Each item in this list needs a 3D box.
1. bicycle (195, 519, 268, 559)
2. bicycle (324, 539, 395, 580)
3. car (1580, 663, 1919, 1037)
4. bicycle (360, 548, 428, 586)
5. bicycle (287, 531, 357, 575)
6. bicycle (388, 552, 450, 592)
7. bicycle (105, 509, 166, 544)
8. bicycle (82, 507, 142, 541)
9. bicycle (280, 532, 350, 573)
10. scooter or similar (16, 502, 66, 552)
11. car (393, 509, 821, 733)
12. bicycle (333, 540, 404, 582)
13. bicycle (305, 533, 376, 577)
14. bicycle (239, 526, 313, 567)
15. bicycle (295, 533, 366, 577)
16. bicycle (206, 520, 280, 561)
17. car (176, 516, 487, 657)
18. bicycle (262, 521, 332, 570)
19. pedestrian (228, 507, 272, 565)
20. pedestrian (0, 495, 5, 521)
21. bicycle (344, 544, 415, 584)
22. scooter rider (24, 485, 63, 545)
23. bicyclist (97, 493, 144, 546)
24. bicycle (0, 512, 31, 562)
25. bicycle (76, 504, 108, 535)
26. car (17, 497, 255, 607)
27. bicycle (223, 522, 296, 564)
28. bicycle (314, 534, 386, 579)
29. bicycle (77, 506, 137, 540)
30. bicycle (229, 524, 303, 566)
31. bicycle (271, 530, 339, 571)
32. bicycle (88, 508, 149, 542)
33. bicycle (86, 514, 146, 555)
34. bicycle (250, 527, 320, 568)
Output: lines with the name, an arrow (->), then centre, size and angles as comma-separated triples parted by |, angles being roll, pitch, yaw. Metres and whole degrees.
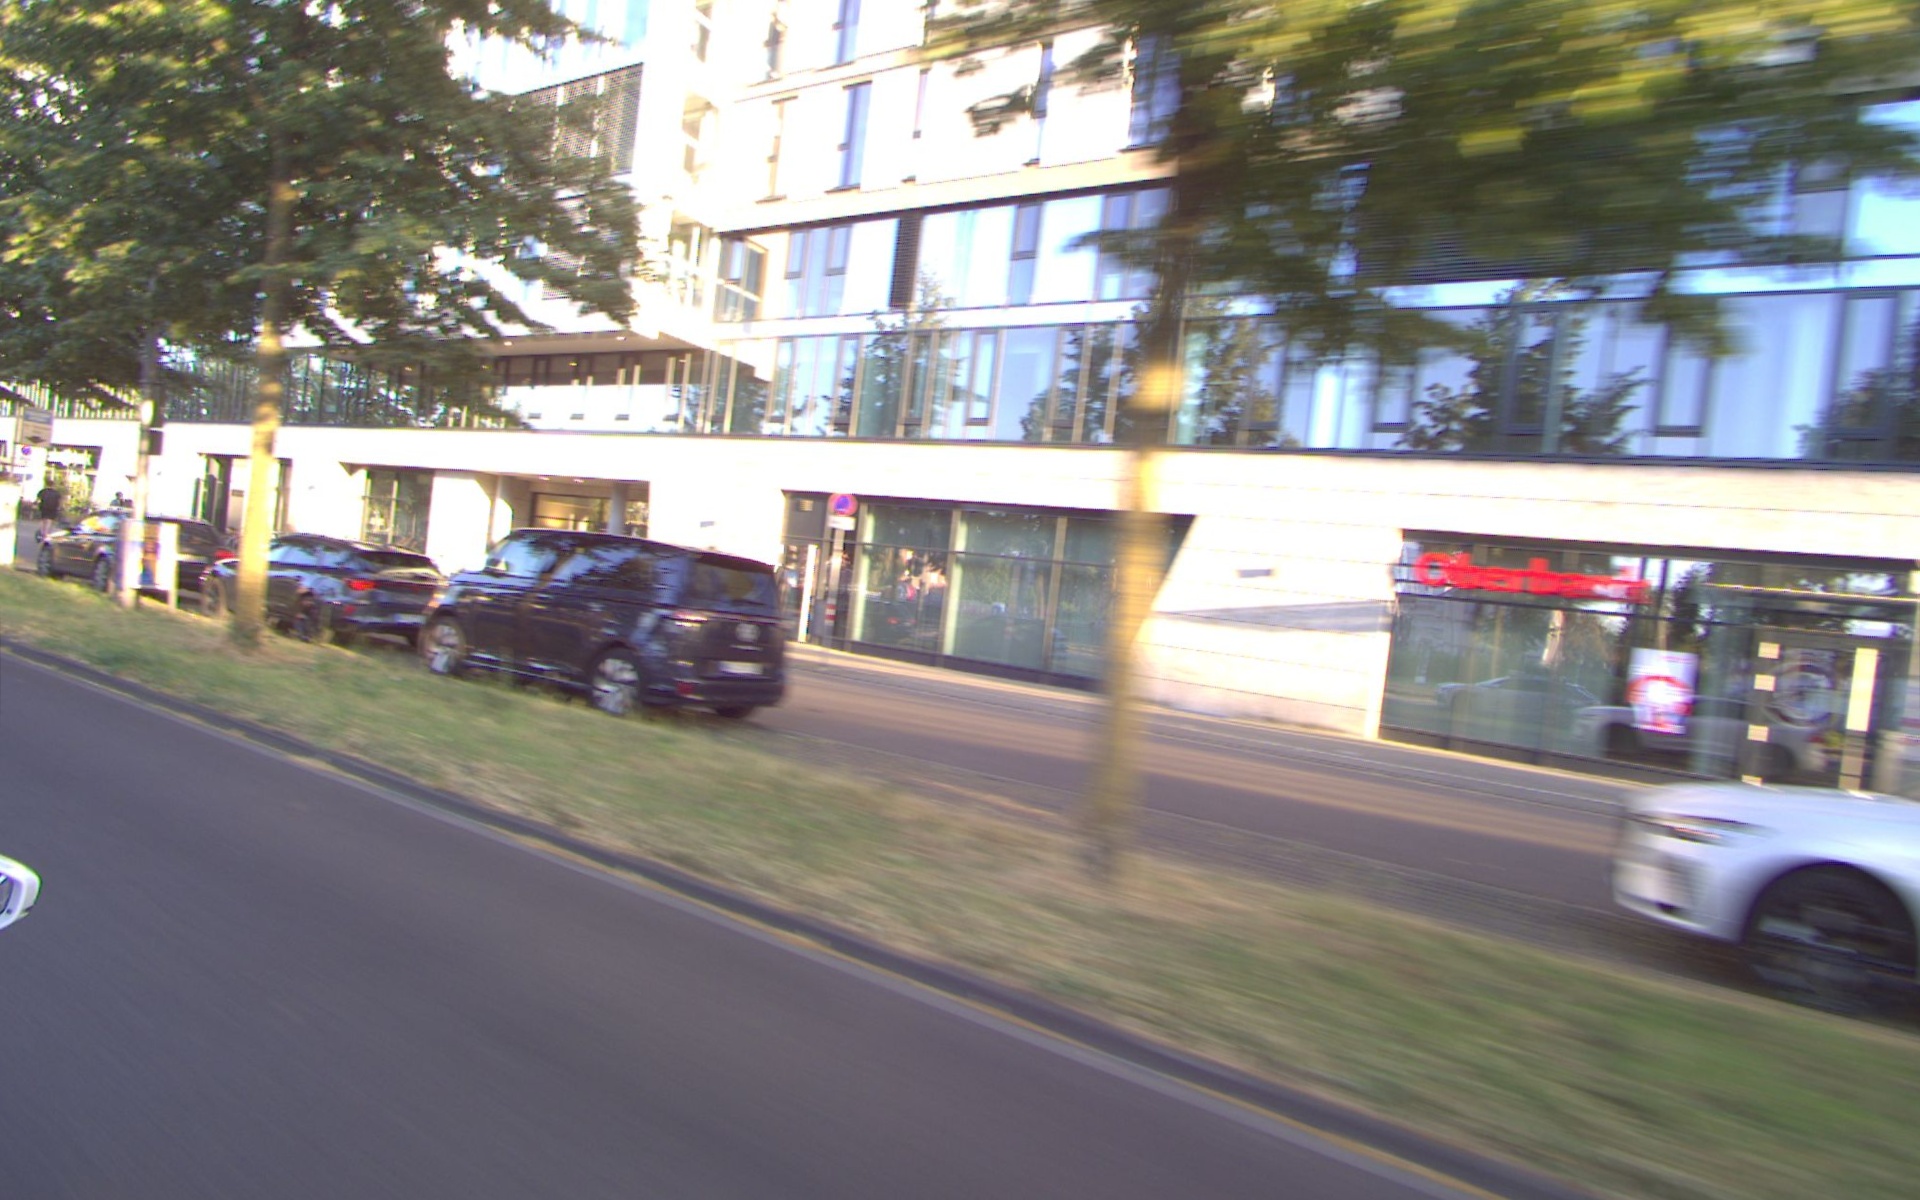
bicycle -> -25.520, -2.120, 35.286 | 0.494, 1.156, 1.986 | 7, 0, 28
bicycle -> -18.817, -1.248, 31.556 | 0.438, 1.060, 1.833 | 7, 0, 32
car -> 6.144, 1.487, 5.245 | 4.798, 1.663, 1.995 | 7, 0, 32
bicycle -> -17.229, -1.003, 30.650 | 0.397, 0.964, 1.746 | 7, 0, 32
bicycle -> -20.663, -1.506, 32.619 | 0.494, 1.191, 1.834 | 7, 0, 28
bicycle -> -16.160, -0.830, 30.070 | 0.397, 0.999, 1.577 | 7, 0, 32
bicycle -> -33.251, -2.956, 40.594 | 0.499, 1.118, 1.788 | 7, 0, 27
bicycle -> -35.048, -3.129, 41.597 | 0.499, 1.118, 1.788 | 7, 0, 27
bicycle -> -21.145, -1.536, 33.001 | 0.494, 1.126, 1.834 | 7, 0, 28
scooter or similar -> -27.506, -2.200, 30.101 | 1.635, 1.327, 0.526 | 7, 1, 29
car -> -4.119, 0.164, 11.573 | 4.586, 1.875, 1.997 | 7, 0, 30
bicycle -> -18.399, -1.197, 31.326 | 0.397, 1.070, 1.833 | 7, 0, 32
bicycle -> -19.698, -1.422, 32.016 | 0.438, 1.191, 1.833 | 7, 0, 32
bicycle -> -23.091, -1.789, 33.984 | 0.494, 1.113, 1.986 | 7, 0, 28
bicycle -> -20.192, -1.421, 32.309 | 0.494, 1.191, 1.834 | 7, 0, 28
bicycle -> -24.884, -2.047, 34.960 | 0.494, 1.182, 1.986 | 7, 0, 28
car -> -9.259, -0.222, 14.738 | 4.586, 1.490, 1.812 | 7, 0, 30
bicycle -> -22.003, -1.794, 33.417 | 0.494, 1.373, 1.834 | 7, 0, 28
pedestrian -> -22.085, -1.990, 31.290 | 0.937, 1.669, 0.643 | 7, 1, 31
pedestrian -> -45.705, -4.402, 47.569 | 0.793, 1.210, 0.572 | 7, 1, 34
bicycle -> -17.828, -1.088, 30.924 | 0.397, 0.999, 1.833 | 7, 0, 32
scooter rider -> -27.368, -2.542, 30.039 | 0.818, 1.659, 0.526 | 7, 1, 29
bicyclist -> -27.272, -2.611, 32.673 | 0.975, 1.586, 0.773 | 7, 1, 29
bicycle -> -22.269, -1.552, 22.556 | 0.536, 1.065, 1.948 | 7, -4, 31
bicycle -> -38.360, -3.554, 44.470 | 2.227, 1.223, 0.469 | 7, 1, 35
car -> -14.663, -0.877, 17.837 | 4.570, 1.429, 1.871 | 7, 0, 32
bicycle -> -24.117, -1.947, 34.673 | 0.494, 1.197, 1.986 | 7, 0, 28
bicycle -> -19.255, -1.362, 31.789 | 0.438, 1.191, 1.833 | 7, 0, 32
bicycle -> -35.506, -3.190, 41.889 | 0.499, 1.118, 1.788 | 7, 0, 27
bicycle -> -23.649, -1.859, 34.330 | 0.494, 1.155, 1.986 | 7, 0, 28
bicycle -> -21.587, -1.613, 33.183 | 0.366, 1.138, 1.834 | 7, 0, 28
bicycle -> -34.397, -3.043, 41.147 | 0.499, 1.118, 1.788 | 7, 0, 27
bicycle -> -27.478, -2.142, 32.756 | 2.028, 1.093, 0.773 | 7, 1, 29
bicycle -> -22.533, -1.725, 33.608 | 0.494, 1.135, 1.834 | 7, 0, 28
